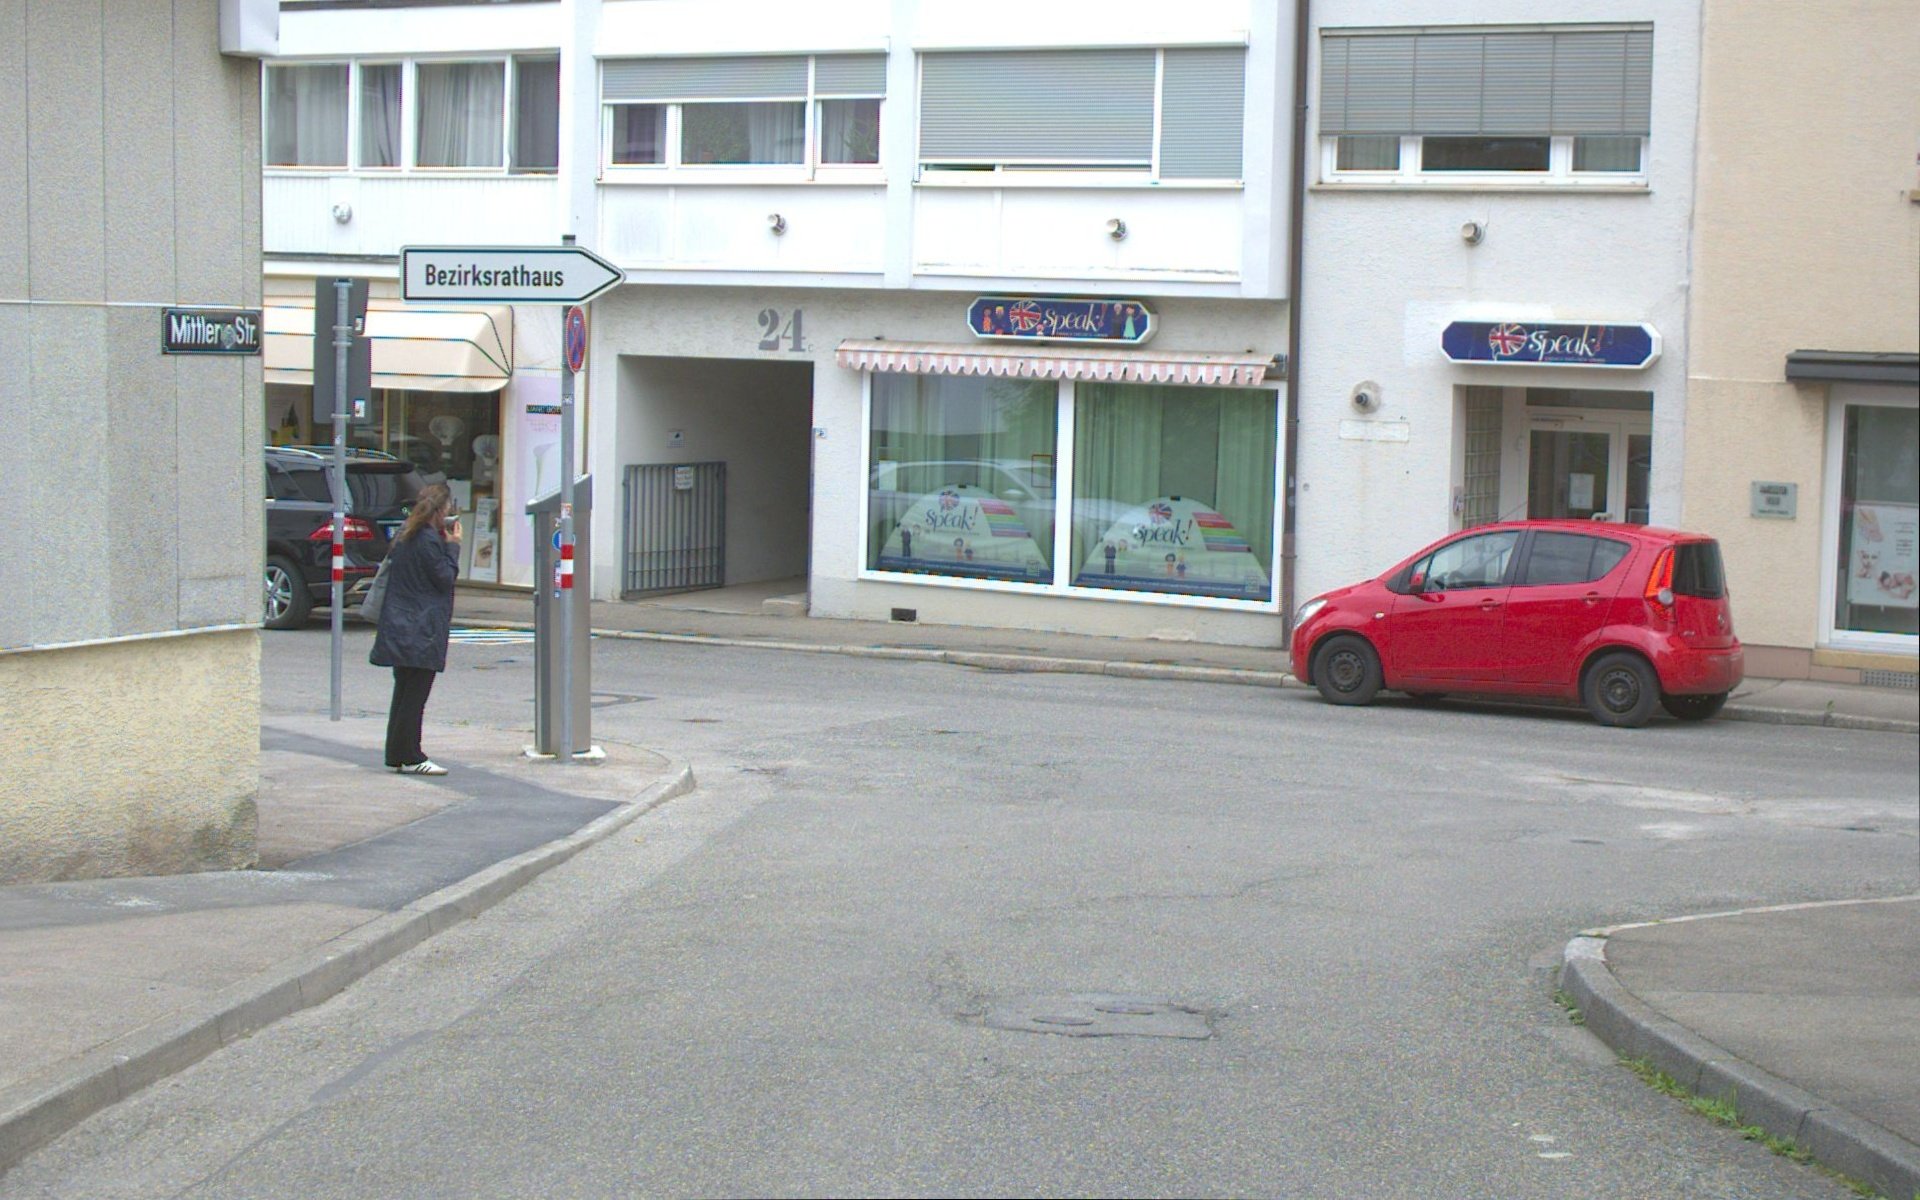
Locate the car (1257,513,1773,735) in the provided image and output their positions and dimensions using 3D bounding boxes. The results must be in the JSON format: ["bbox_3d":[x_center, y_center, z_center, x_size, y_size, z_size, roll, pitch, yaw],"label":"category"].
[{"bbox_3d":[4.460,0.152,27.783,3.690,1.551,1.694,3,2,34],"label":"car"}]

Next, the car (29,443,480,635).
[{"bbox_3d":[-7.196,-0.661,34.929,4.363,1.773,1.944,3,3,33],"label":"car"}]

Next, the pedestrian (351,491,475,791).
[{"bbox_3d":[-3.158,0.228,19.810,0.646,1.679,0.604,2,2,-10],"label":"pedestrian"}]
